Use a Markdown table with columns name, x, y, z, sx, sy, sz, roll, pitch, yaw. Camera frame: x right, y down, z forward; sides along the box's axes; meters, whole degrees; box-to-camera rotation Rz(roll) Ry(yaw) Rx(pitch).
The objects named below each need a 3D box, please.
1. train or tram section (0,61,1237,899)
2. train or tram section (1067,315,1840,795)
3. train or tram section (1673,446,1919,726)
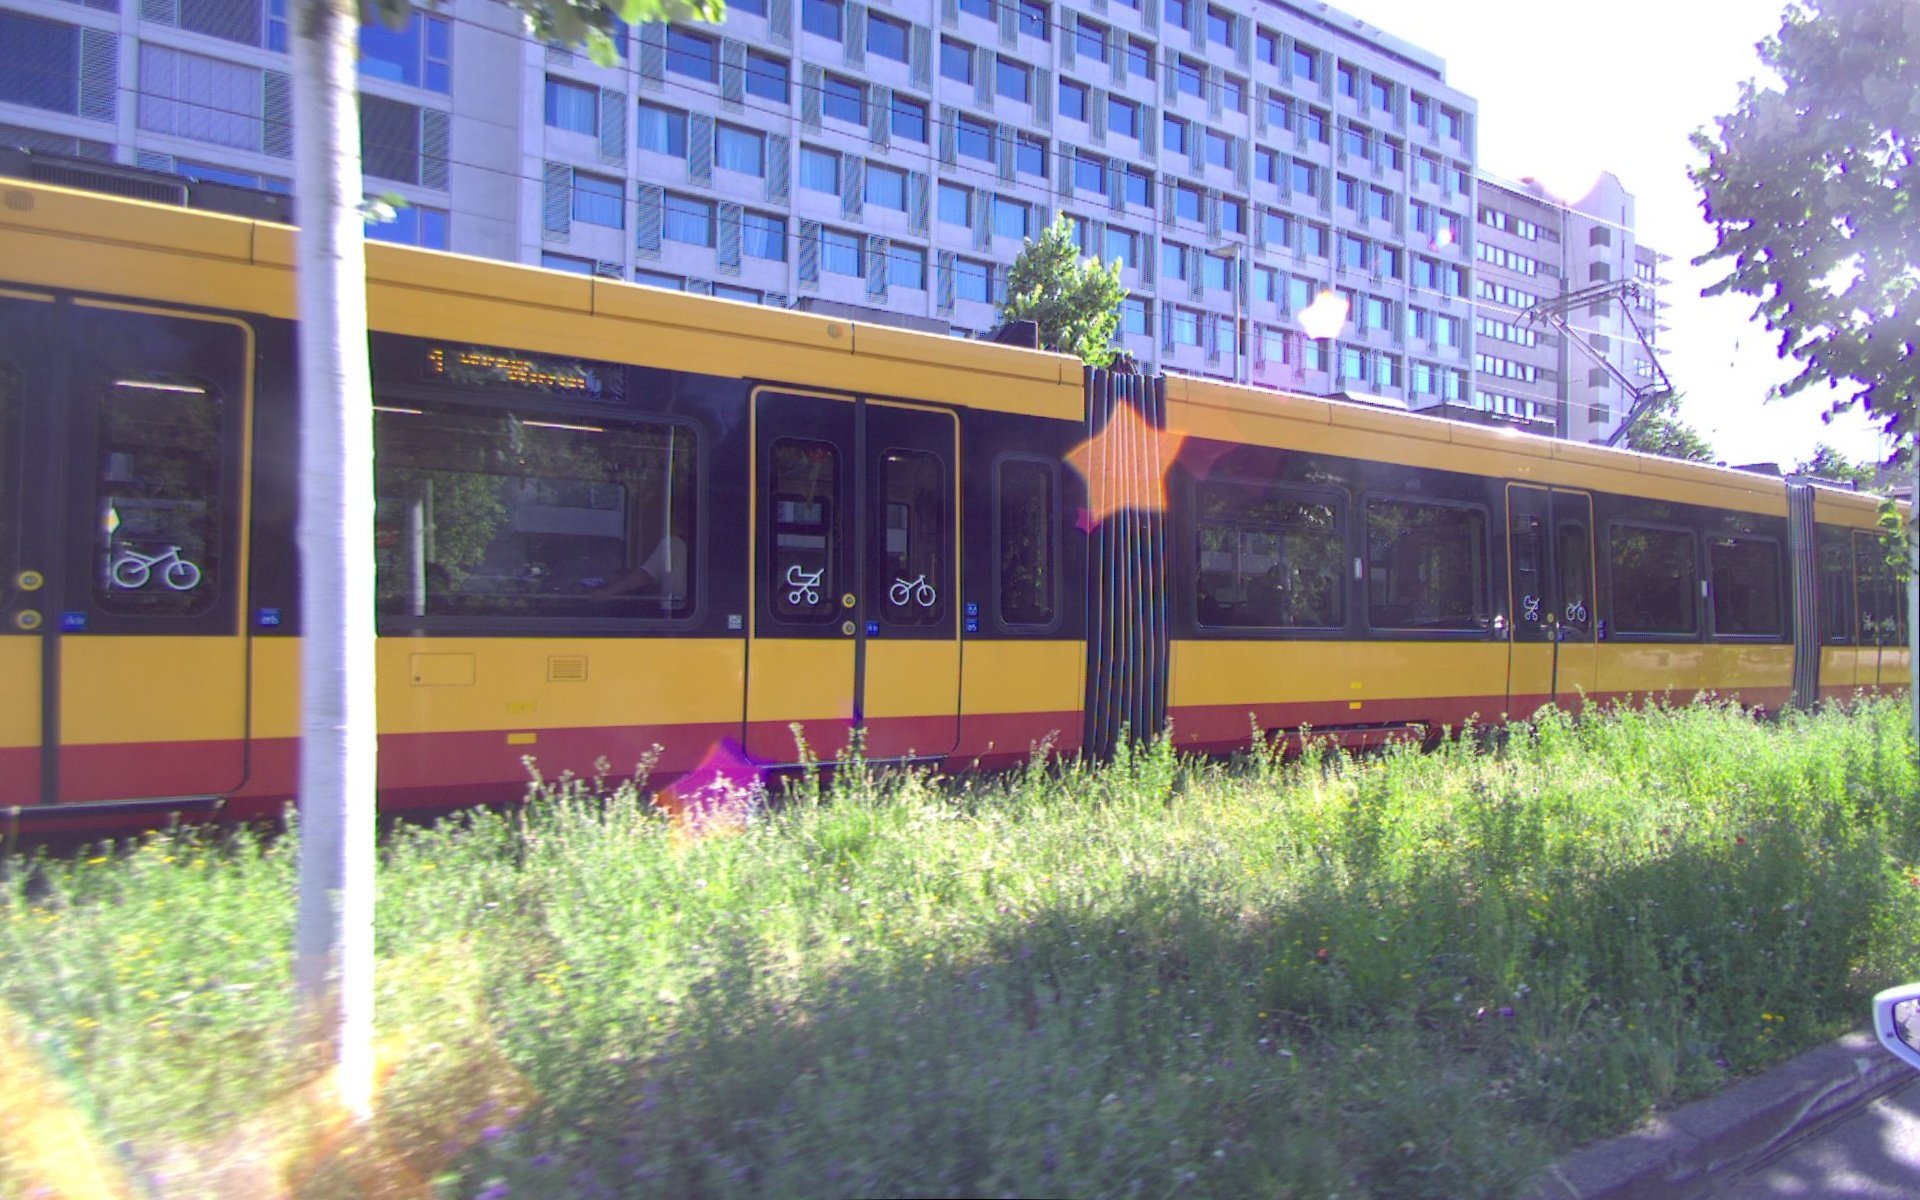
| name | x | y | z | sx | sy | sz | roll | pitch | yaw |
| --- | --- | --- | --- | --- | --- | --- | --- | --- | --- |
| train or tram section | -4.426 | -0.520 | 5.498 | 13.978 | 3.718 | 1.985 | 2 | -1 | -29 |
| train or tram section | 6.379 | -0.190 | 11.454 | 11.182 | 3.718 | 1.984 | 2 | -1 | -30 |
| train or tram section | 16.230 | -0.019 | 17.050 | 11.543 | 3.718 | 1.984 | 2 | -1 | -30 |
